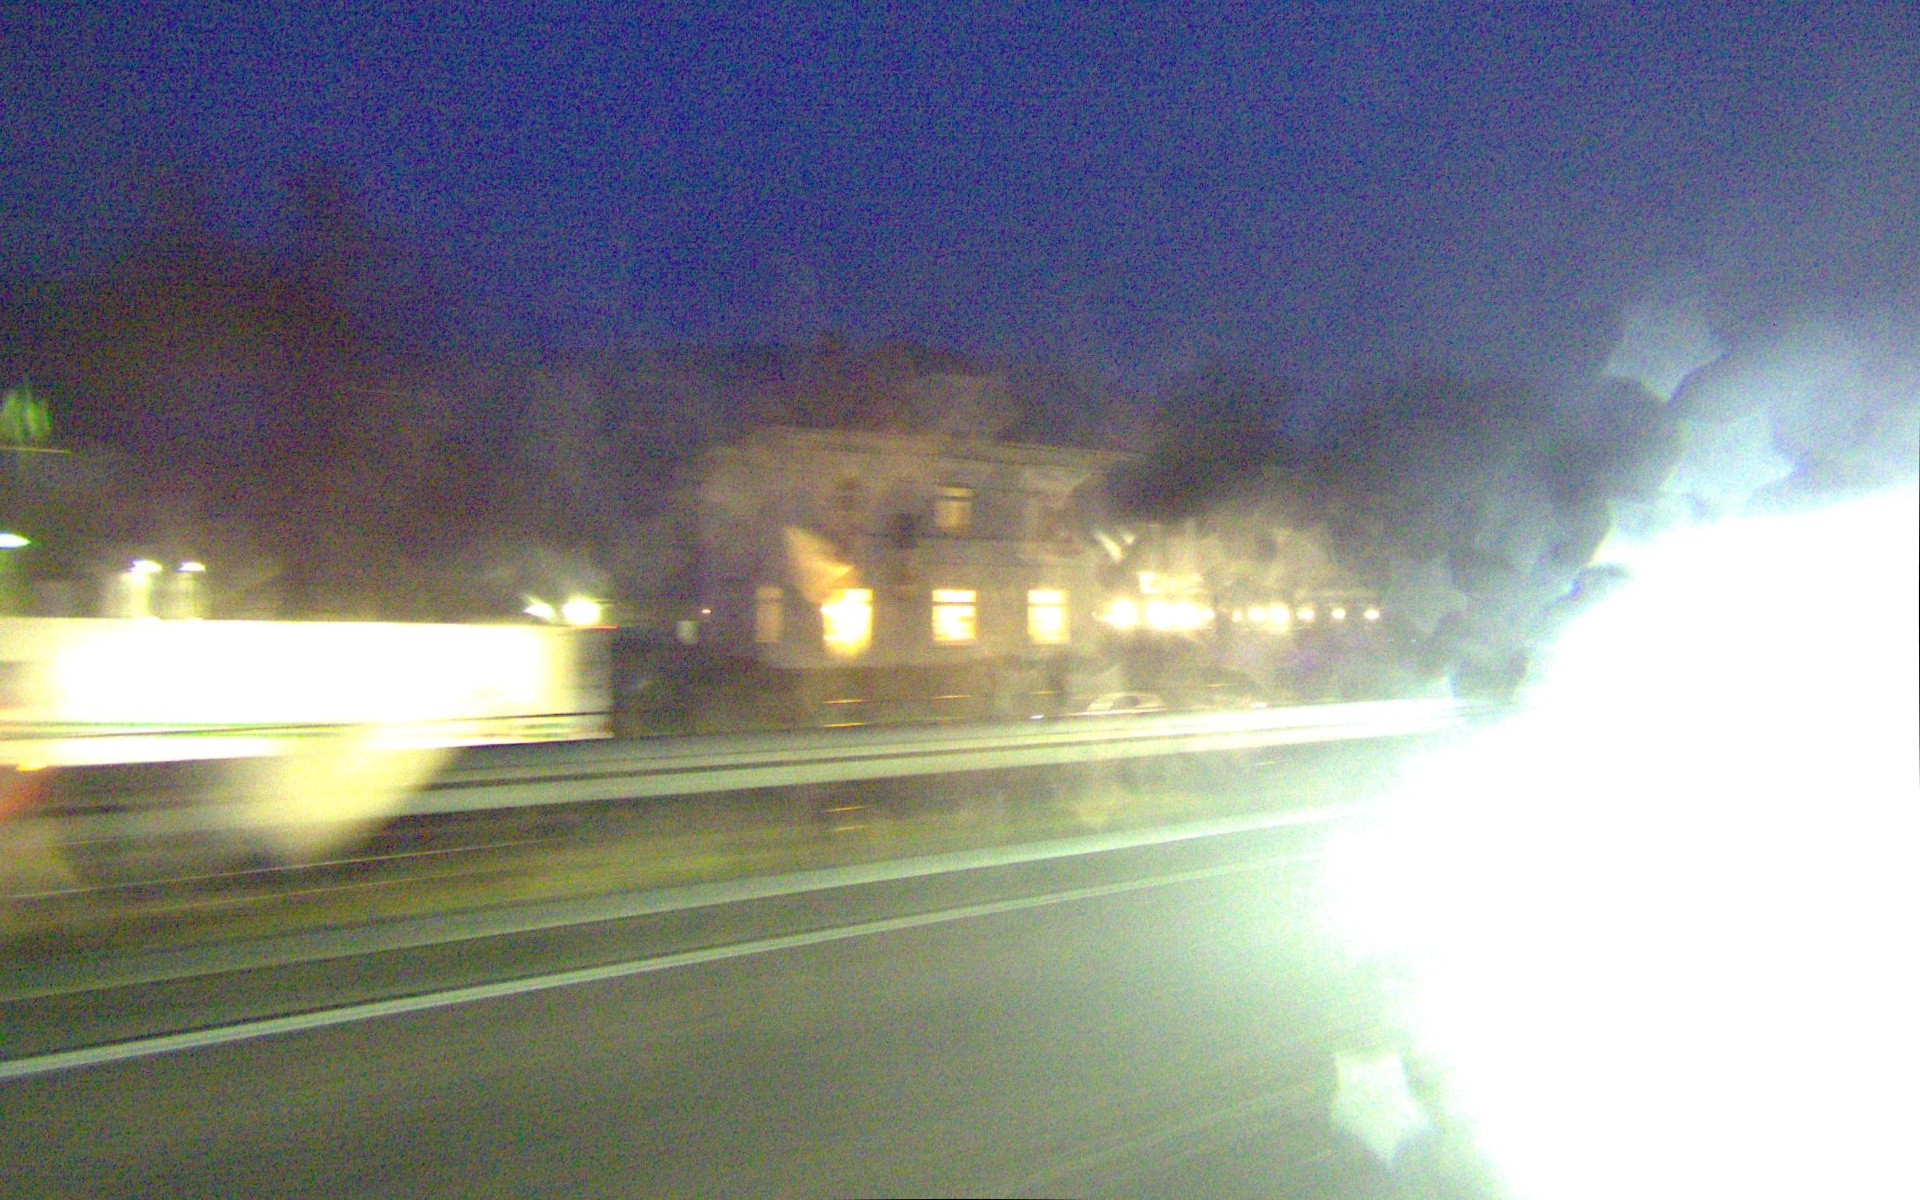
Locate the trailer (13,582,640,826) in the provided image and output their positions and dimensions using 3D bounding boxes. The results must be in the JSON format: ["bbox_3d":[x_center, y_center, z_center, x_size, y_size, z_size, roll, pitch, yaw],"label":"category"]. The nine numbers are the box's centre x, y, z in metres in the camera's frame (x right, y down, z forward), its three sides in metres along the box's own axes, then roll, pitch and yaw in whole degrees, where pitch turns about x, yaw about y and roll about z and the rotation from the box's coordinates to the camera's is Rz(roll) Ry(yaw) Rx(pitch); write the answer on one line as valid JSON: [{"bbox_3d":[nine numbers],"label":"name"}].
[{"bbox_3d":[-13.365,2.230,22.330,11.339,4.860,3.335,1,0,-7],"label":"trailer"}]

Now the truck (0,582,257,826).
[{"bbox_3d":[-19.987,2.055,21.570,7.182,4.860,3.335,1,0,-6],"label":"truck"}]

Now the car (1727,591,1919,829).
[{"bbox_3d":[8.547,0.840,8.556,4.244,1.698,1.799,2,0,-32],"label":"car"}]

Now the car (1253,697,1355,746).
[{"bbox_3d":[13.867,4.827,40.372,4.253,1.591,1.795,2,0,-37],"label":"car"}]

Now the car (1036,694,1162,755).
[{"bbox_3d":[4.804,4.214,34.468,4.252,1.698,1.795,2,0,-37],"label":"car"}]
